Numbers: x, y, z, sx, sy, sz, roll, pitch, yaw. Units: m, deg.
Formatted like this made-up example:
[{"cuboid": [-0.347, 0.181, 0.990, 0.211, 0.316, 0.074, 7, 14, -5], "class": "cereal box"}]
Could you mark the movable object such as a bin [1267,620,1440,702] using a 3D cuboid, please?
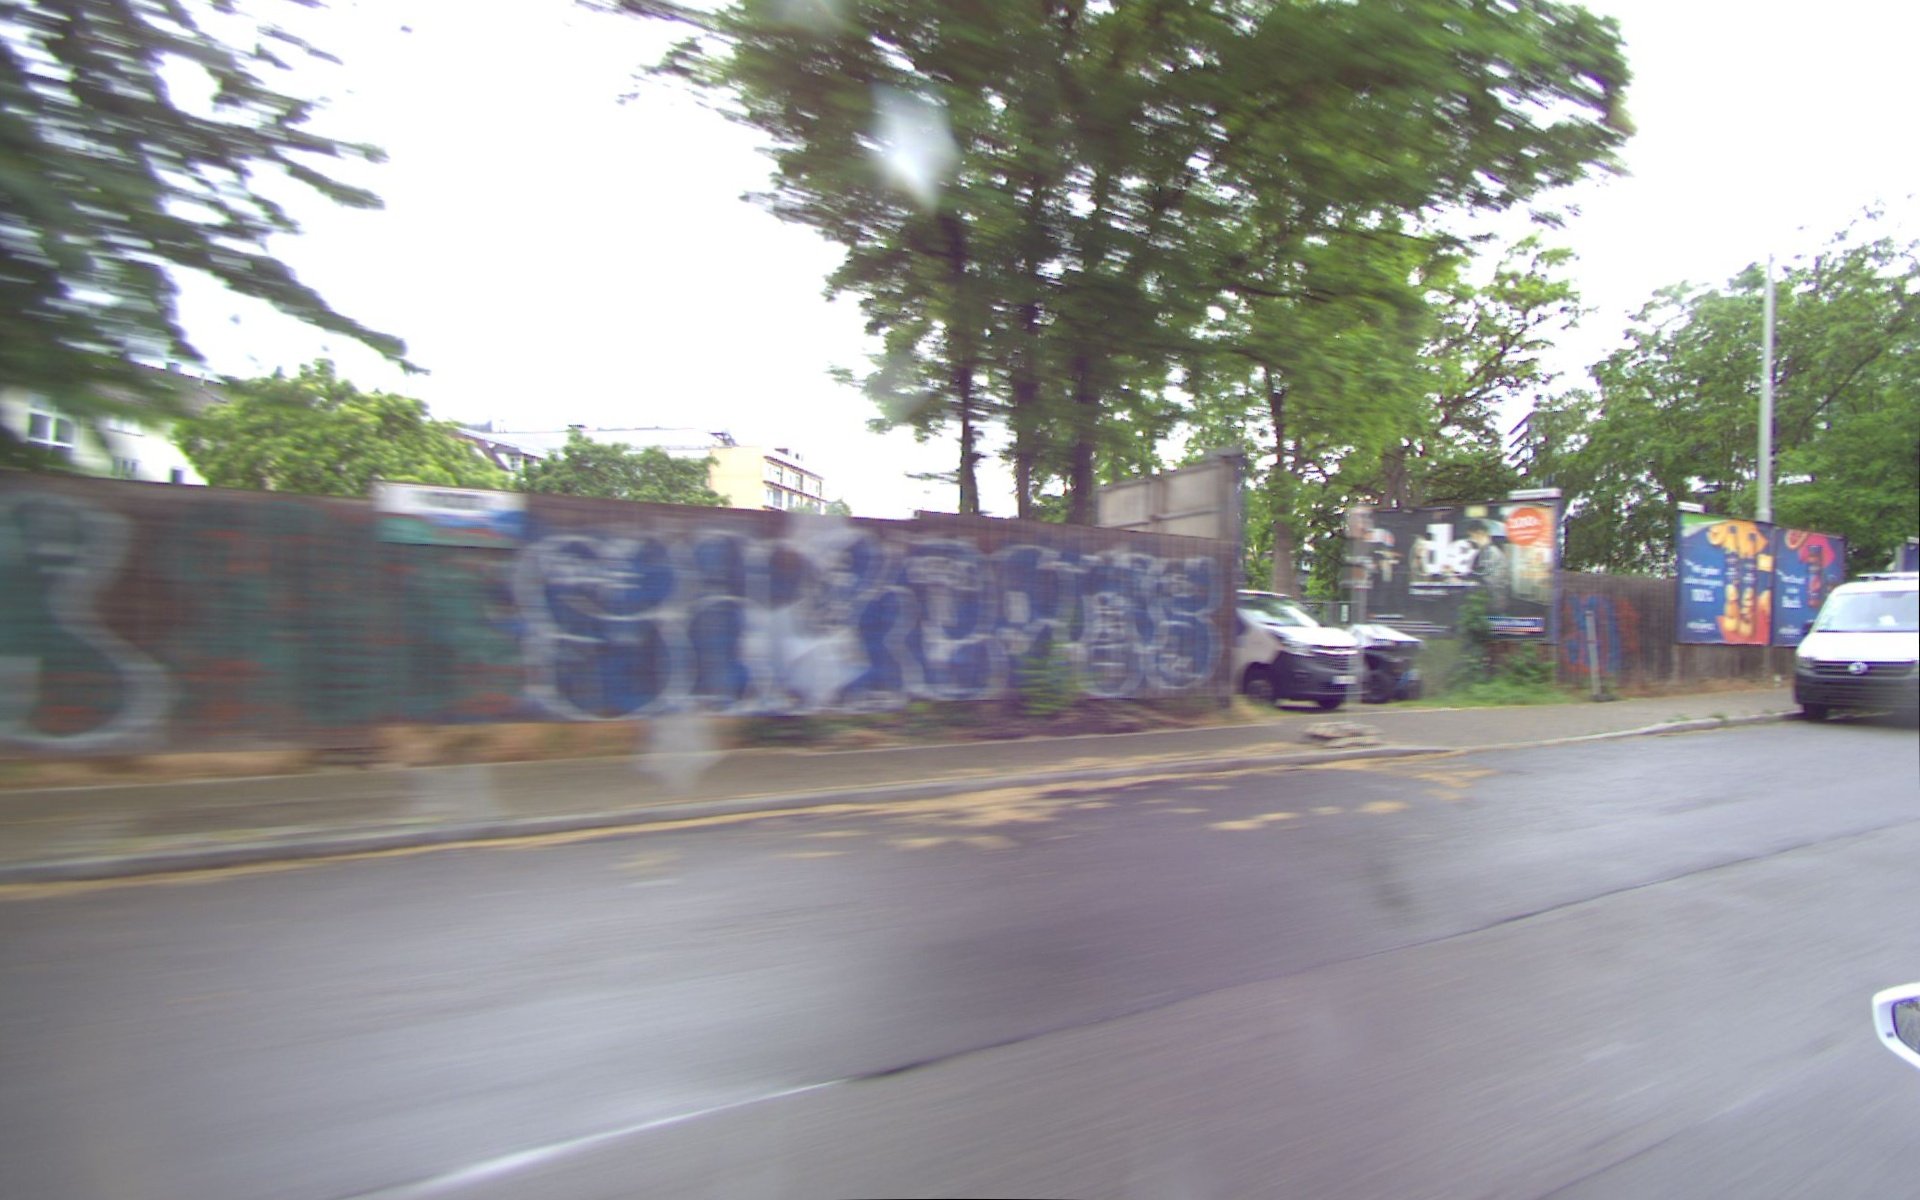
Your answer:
[{"cuboid": [7.520, 1.119, 19.285, 1.664, 1.442, 2.668, 2, -2, -43], "class": "movable object such as a bin"}]

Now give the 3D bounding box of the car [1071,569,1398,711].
[{"cuboid": [4.433, 0.661, 17.275, 2.122, 2.036, 5.471, 1, -2, -32], "class": "car"}]

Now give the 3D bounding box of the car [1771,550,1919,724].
[{"cuboid": [16.143, 0.608, 16.803, 5.911, 2.520, 2.003, 1, -2, -30], "class": "car"}]
